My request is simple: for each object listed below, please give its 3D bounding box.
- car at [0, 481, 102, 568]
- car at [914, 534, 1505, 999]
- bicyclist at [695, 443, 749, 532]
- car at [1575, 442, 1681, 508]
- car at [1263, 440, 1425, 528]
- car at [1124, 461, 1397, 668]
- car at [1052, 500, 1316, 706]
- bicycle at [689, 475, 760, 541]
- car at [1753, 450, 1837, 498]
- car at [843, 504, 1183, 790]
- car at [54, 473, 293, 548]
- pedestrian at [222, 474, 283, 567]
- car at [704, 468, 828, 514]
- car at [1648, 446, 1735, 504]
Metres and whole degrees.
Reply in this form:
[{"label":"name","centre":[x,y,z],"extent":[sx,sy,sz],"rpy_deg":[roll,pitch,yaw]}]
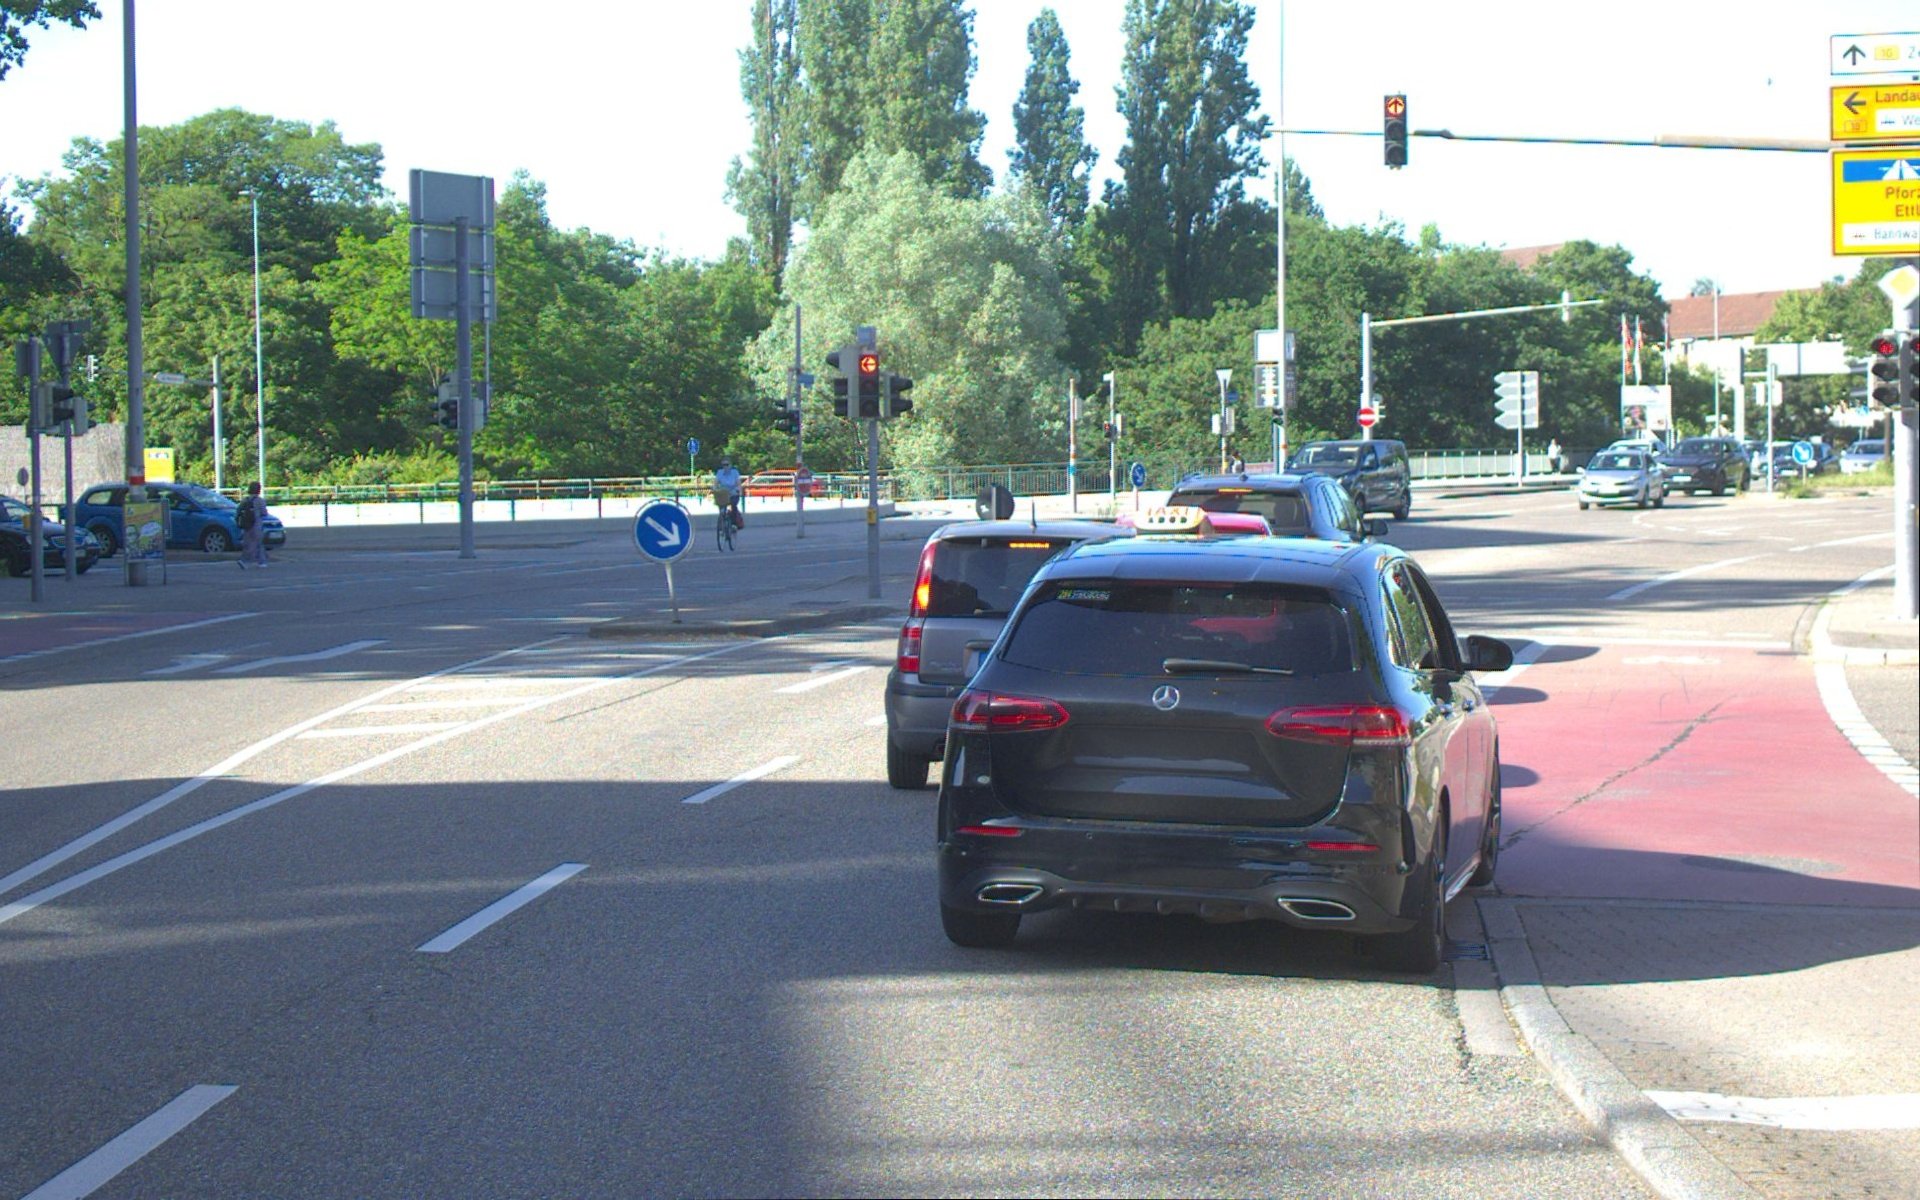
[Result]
[{"label":"car","centre":[-17.123,-1.298,59.214],"extent":[4.443,1.433,1.823],"rpy_deg":[0,3,28]},{"label":"car","centre":[1.128,0.508,13.469],"extent":[1.752,1.488,3.998],"rpy_deg":[1,2,12]},{"label":"bicyclist","centre":[-4.608,-2.186,66.648],"extent":[0.687,1.695,1.197],"rpy_deg":[0,3,14]},{"label":"car","centre":[16.870,-3.162,86.682],"extent":[1.822,1.577,4.099],"rpy_deg":[0,3,22]},{"label":"car","centre":[8.838,-2.676,78.754],"extent":[1.997,1.928,4.845],"rpy_deg":[1,3,29]},{"label":"car","centre":[2.954,-0.412,32.952],"extent":[1.870,1.784,4.412],"rpy_deg":[2,3,14]},{"label":"car","centre":[1.865,-0.039,27.546],"extent":[1.820,1.474,3.999],"rpy_deg":[1,2,8]},{"label":"bicycle","centre":[-4.568,-1.794,66.814],"extent":[0.687,1.198,2.326],"rpy_deg":[0,4,14]},{"label":"car","centre":[26.392,-3.983,108.590],"extent":[1.996,1.448,3.996],"rpy_deg":[0,2,22]},{"label":"car","centre":[0.401,0.204,20.664],"extent":[1.820,1.484,4.000],"rpy_deg":[-1,2,3]},{"label":"car","centre":[-15.793,-1.803,69.052],"extent":[4.442,1.433,1.824],"rpy_deg":[0,3,24]},{"label":"pedestrian","centre":[-12.358,-1.384,60.087],"extent":[0.686,1.533,1.366],"rpy_deg":[1,-3,3]},{"label":"car","centre":[-6.649,-3.740,118.122],"extent":[3.987,1.543,2.000],"rpy_deg":[0,2,5]},{"label":"car","centre":[20.716,-3.556,97.277],"extent":[1.725,1.577,3.999],"rpy_deg":[0,3,23]}]
